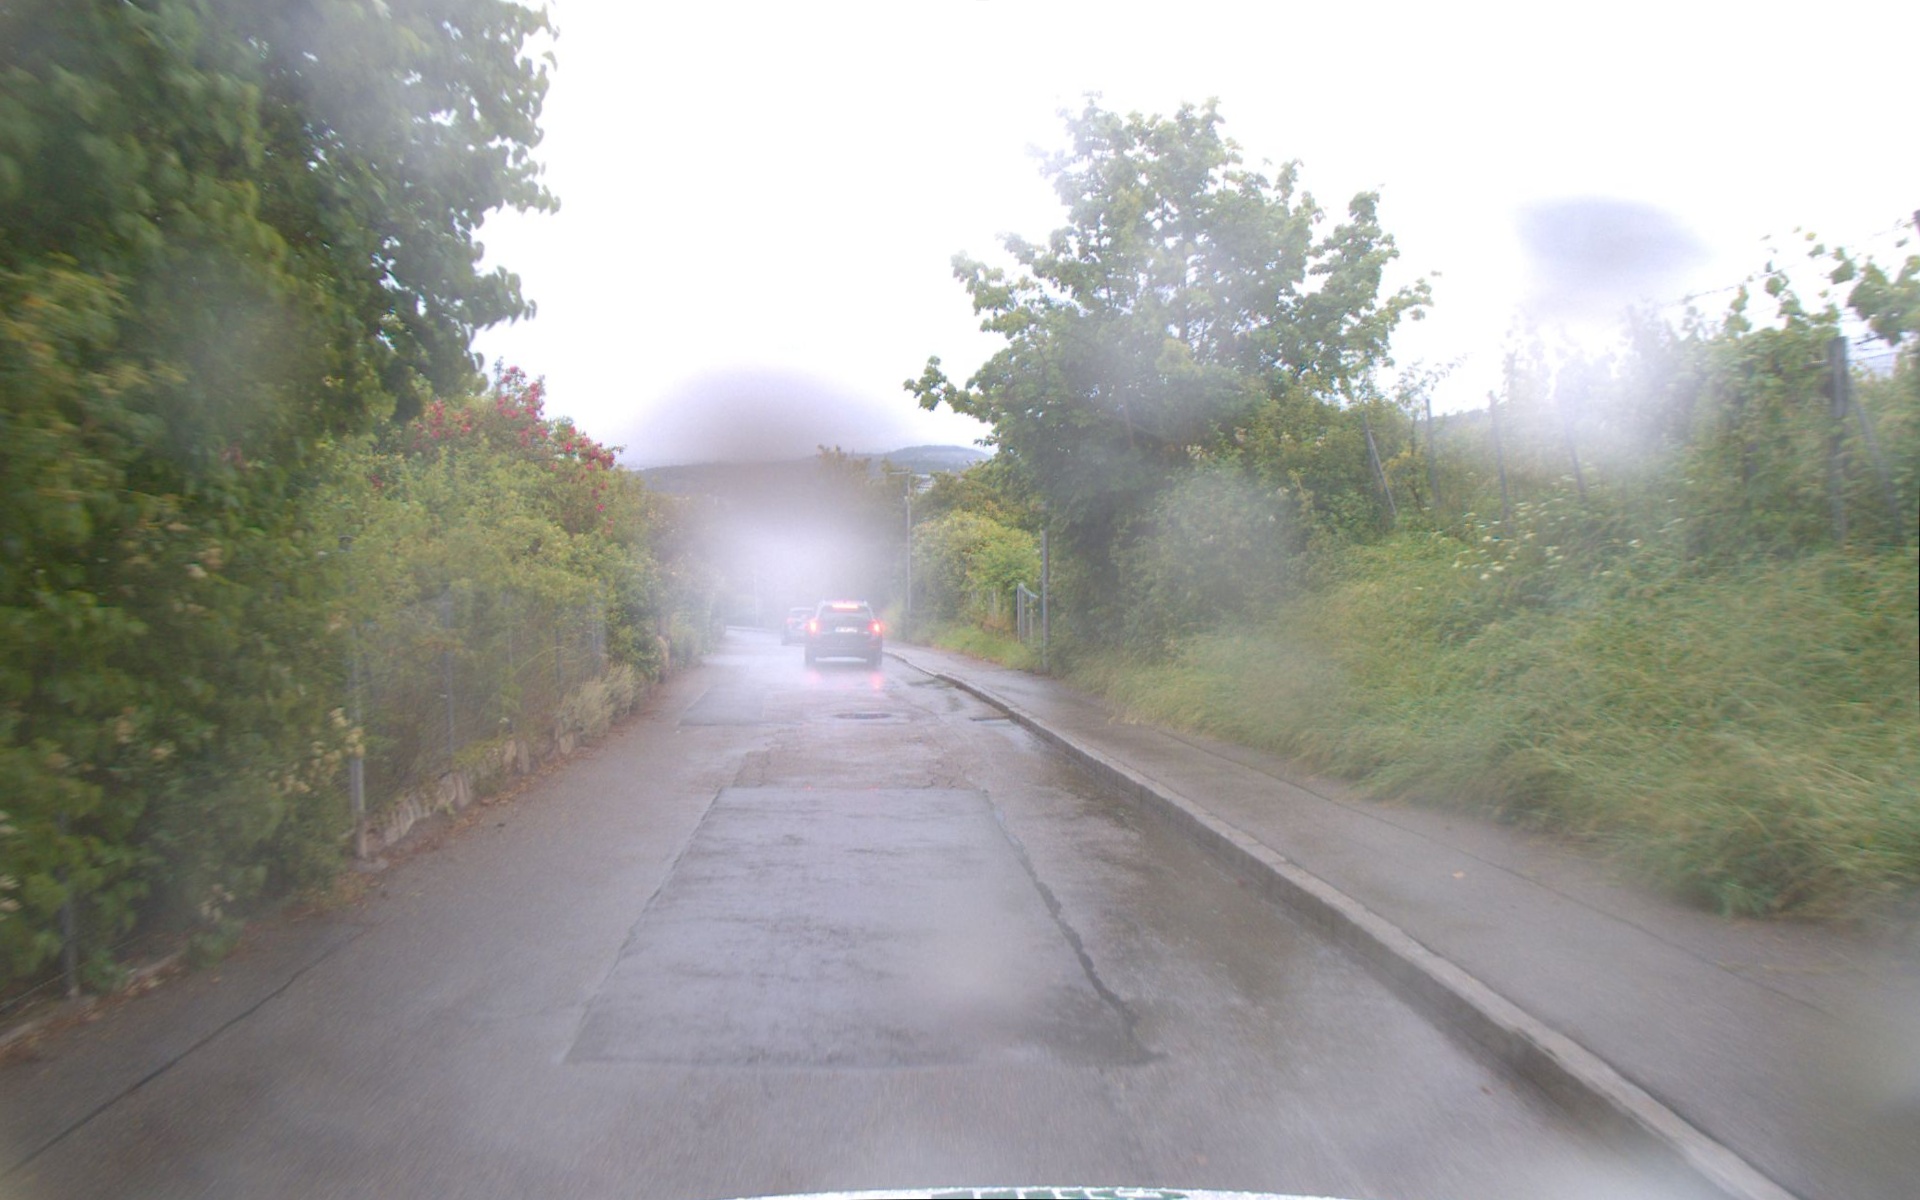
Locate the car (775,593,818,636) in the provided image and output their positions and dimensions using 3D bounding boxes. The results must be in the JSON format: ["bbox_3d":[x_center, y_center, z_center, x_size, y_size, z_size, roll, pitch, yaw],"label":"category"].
[{"bbox_3d":[-6.589,0.553,66.398,1.646,1.592,3.789,0,1,-7],"label":"car"}]

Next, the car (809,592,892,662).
[{"bbox_3d":[-2.563,0.576,38.321,1.799,1.489,3.997,-1,1,-4],"label":"car"}]
